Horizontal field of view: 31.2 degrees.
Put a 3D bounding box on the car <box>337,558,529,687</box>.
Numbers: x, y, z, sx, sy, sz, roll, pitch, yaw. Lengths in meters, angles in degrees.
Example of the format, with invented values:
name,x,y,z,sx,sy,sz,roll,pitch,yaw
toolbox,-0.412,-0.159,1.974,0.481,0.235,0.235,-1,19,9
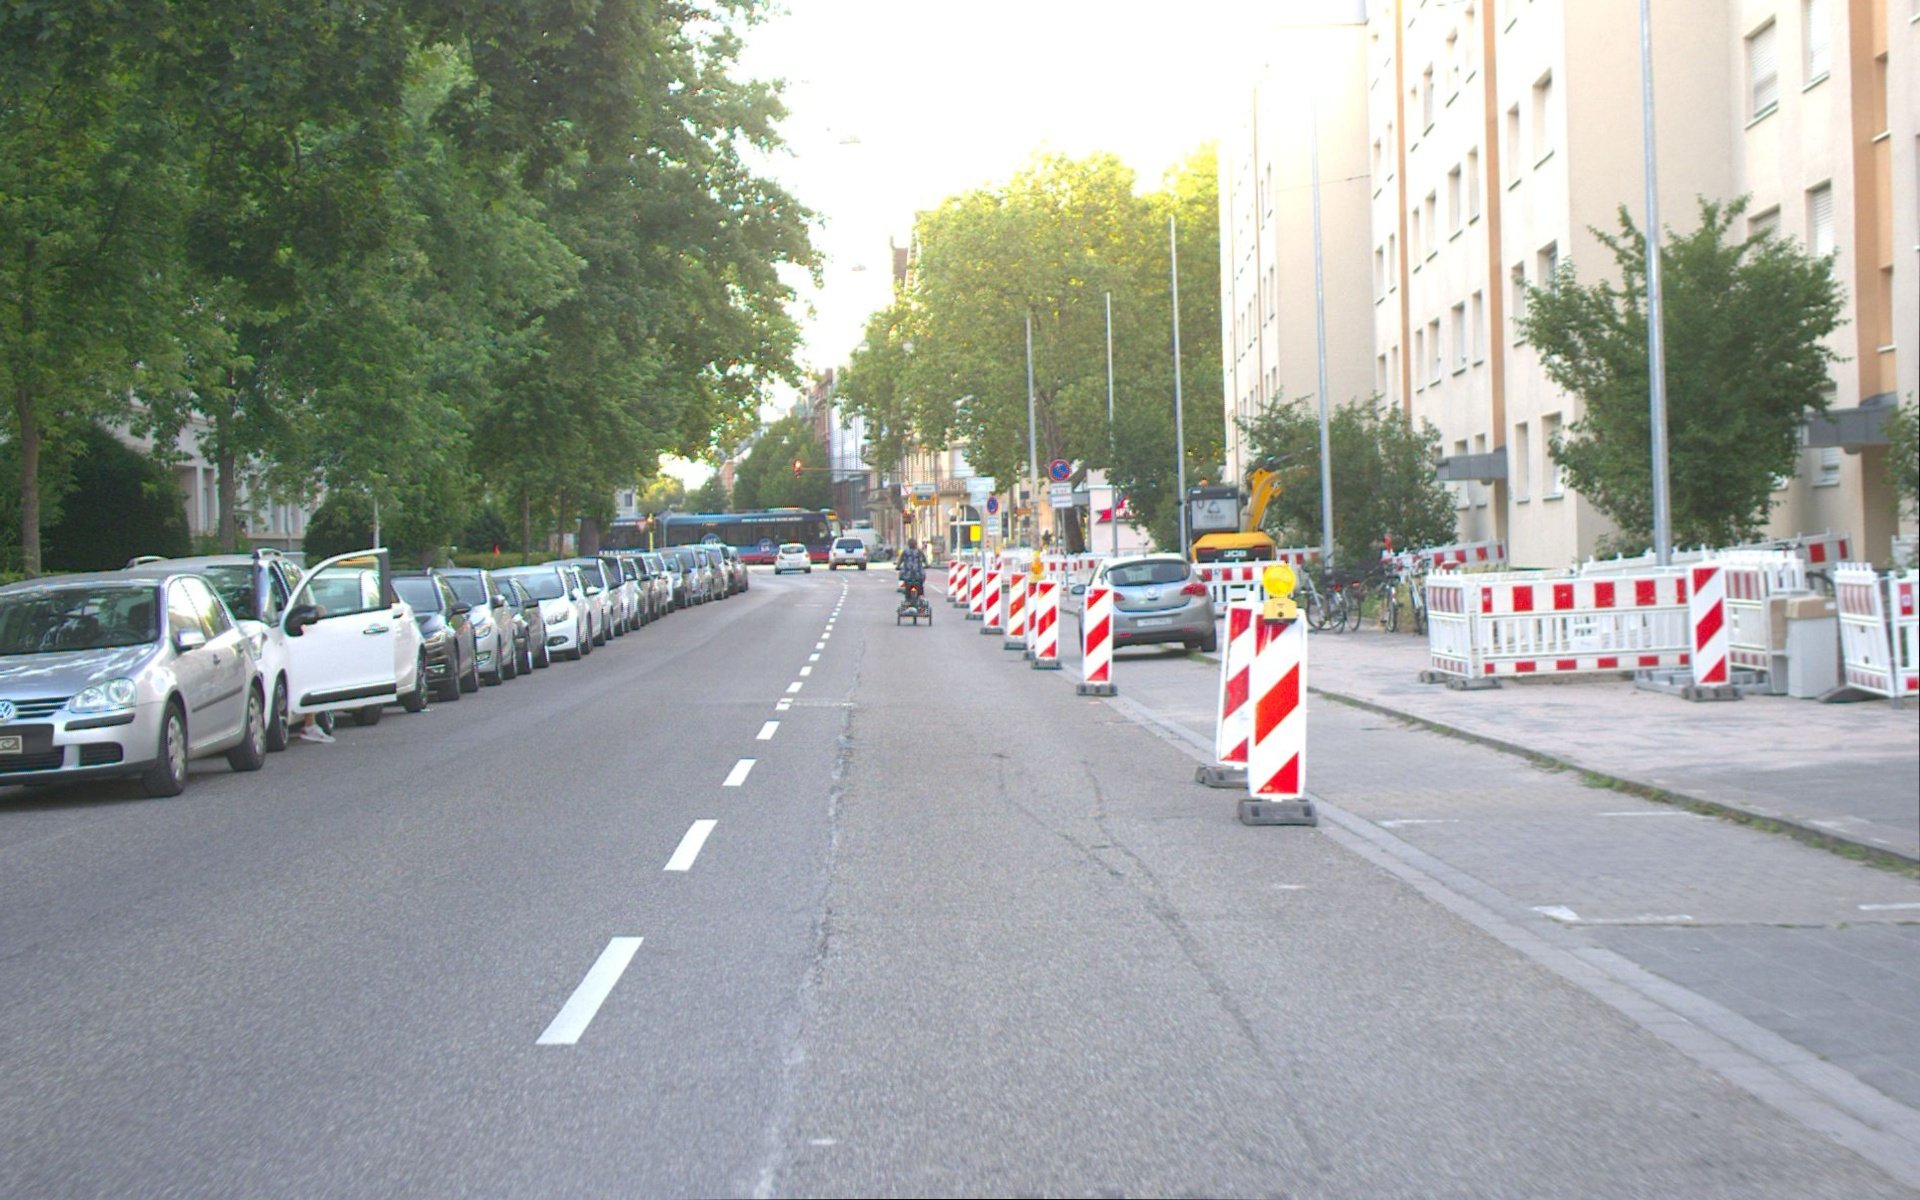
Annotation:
name,x,y,z,sx,sy,sz,roll,pitch,yaw
car,-6.568,0.248,43.184,1.778,1.419,3.746,-4,1,-1

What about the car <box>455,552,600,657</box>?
name,x,y,z,sx,sy,sz,roll,pitch,yaw
car,-6.645,0.045,53.124,1.756,1.438,3.454,-4,1,-1

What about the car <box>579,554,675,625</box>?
name,x,y,z,sx,sy,sz,roll,pitch,yaw
car,-7.475,-0.253,77.424,1.756,1.438,3.454,-4,1,-1

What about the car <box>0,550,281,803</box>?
name,x,y,z,sx,sy,sz,roll,pitch,yaw
car,-5.843,0.468,23.010,1.756,1.478,3.928,-4,1,-1

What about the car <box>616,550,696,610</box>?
name,x,y,z,sx,sy,sz,roll,pitch,yaw
car,-8.003,-0.536,90.775,1.756,1.438,3.454,-4,1,-1

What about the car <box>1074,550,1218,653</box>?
name,x,y,z,sx,sy,sz,roll,pitch,yaw
car,2.673,-0.003,50.099,1.779,1.385,4.000,-2,1,-1

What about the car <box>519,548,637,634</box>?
name,x,y,z,sx,sy,sz,roll,pitch,yaw
car,-7.102,-0.195,64.231,1.756,1.438,3.454,-4,1,-1

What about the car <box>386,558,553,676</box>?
name,x,y,z,sx,sy,sz,roll,pitch,yaw
car,-6.743,0.206,47.518,1.756,1.438,3.454,-4,1,-1

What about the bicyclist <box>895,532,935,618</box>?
name,x,y,z,sx,sy,sz,roll,pitch,yaw
bicyclist,-0.957,-0.537,73.136,0.791,1.794,1.017,-2,1,-1

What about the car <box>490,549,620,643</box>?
name,x,y,z,sx,sy,sz,roll,pitch,yaw
car,-6.878,-0.099,58.717,1.756,1.438,3.454,-4,1,-1

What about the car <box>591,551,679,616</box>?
name,x,y,z,sx,sy,sz,roll,pitch,yaw
car,-7.943,-0.413,84.273,1.756,1.438,3.454,-4,1,-1

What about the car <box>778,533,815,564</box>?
name,x,y,z,sx,sy,sz,roll,pitch,yaw
car,-8.209,-2.577,172.400,1.756,1.438,3.454,-4,1,-3

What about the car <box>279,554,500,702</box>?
name,x,y,z,sx,sy,sz,roll,pitch,yaw
car,-6.296,0.267,38.337,1.756,1.438,3.928,-4,1,-1

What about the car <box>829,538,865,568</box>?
name,x,y,z,sx,sy,sz,roll,pitch,yaw
car,-6.089,-2.524,184.814,1.694,1.438,3.454,-4,1,-4

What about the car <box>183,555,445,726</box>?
name,x,y,z,sx,sy,sz,roll,pitch,yaw
car,-6.204,0.347,33.435,1.756,1.438,3.928,-4,1,-1

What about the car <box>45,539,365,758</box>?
name,x,y,z,sx,sy,sz,roll,pitch,yaw
car,-6.259,0.352,28.912,1.756,1.598,3.928,-4,1,-1

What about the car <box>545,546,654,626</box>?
name,x,y,z,sx,sy,sz,roll,pitch,yaw
car,-7.204,-0.293,68.961,1.756,1.438,3.454,-4,1,-1

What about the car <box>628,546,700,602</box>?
name,x,y,z,sx,sy,sz,roll,pitch,yaw
car,-8.204,-0.736,95.616,1.652,1.438,3.454,-4,1,-1

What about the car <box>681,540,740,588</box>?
name,x,y,z,sx,sy,sz,roll,pitch,yaw
car,-8.190,-1.205,112.999,1.616,1.438,3.454,-4,1,-1

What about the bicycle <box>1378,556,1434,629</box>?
name,x,y,z,sx,sy,sz,roll,pitch,yaw
bicycle,7.075,-0.131,54.601,0.617,1.103,2.235,-2,1,1

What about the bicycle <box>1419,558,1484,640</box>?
name,x,y,z,sx,sy,sz,roll,pitch,yaw
bicycle,6.970,-0.028,48.798,0.617,1.103,2.235,-2,1,1

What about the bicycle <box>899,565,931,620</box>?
name,x,y,z,sx,sy,sz,roll,pitch,yaw
bicycle,-0.957,-0.168,72.829,0.641,1.111,3.055,-2,1,-1

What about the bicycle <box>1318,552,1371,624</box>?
name,x,y,z,sx,sy,sz,roll,pitch,yaw
bicycle,6.183,-0.204,55.318,0.617,1.103,2.235,-2,1,1
